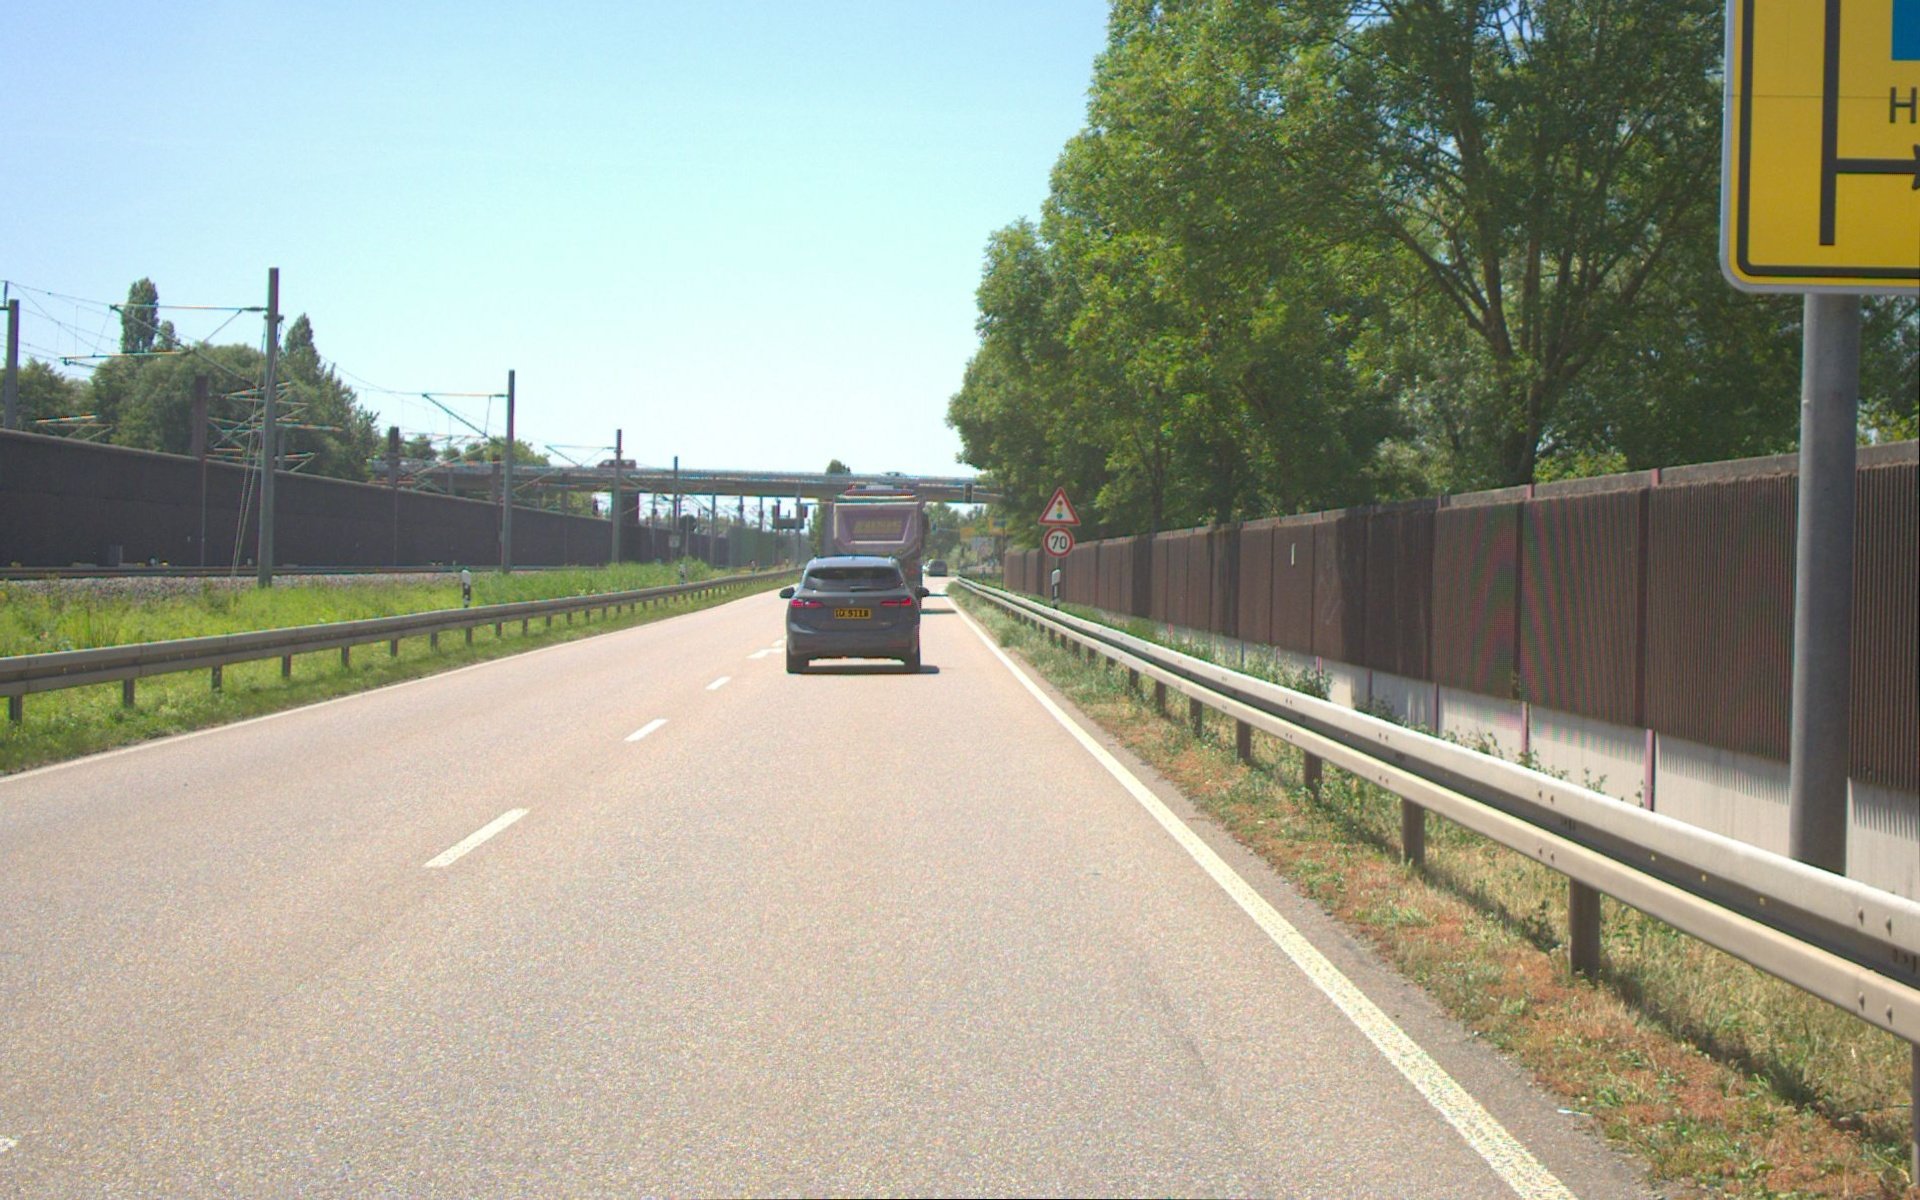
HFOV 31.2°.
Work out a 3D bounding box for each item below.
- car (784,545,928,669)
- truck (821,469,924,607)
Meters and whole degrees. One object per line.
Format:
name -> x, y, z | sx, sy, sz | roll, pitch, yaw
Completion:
car -> -1.390, 0.074, 47.400 | 1.844, 1.617, 4.226 | 0, 1, 0
truck -> -2.499, -1.786, 101.343 | 2.833, 3.808, 11.885 | 0, 1, -1
